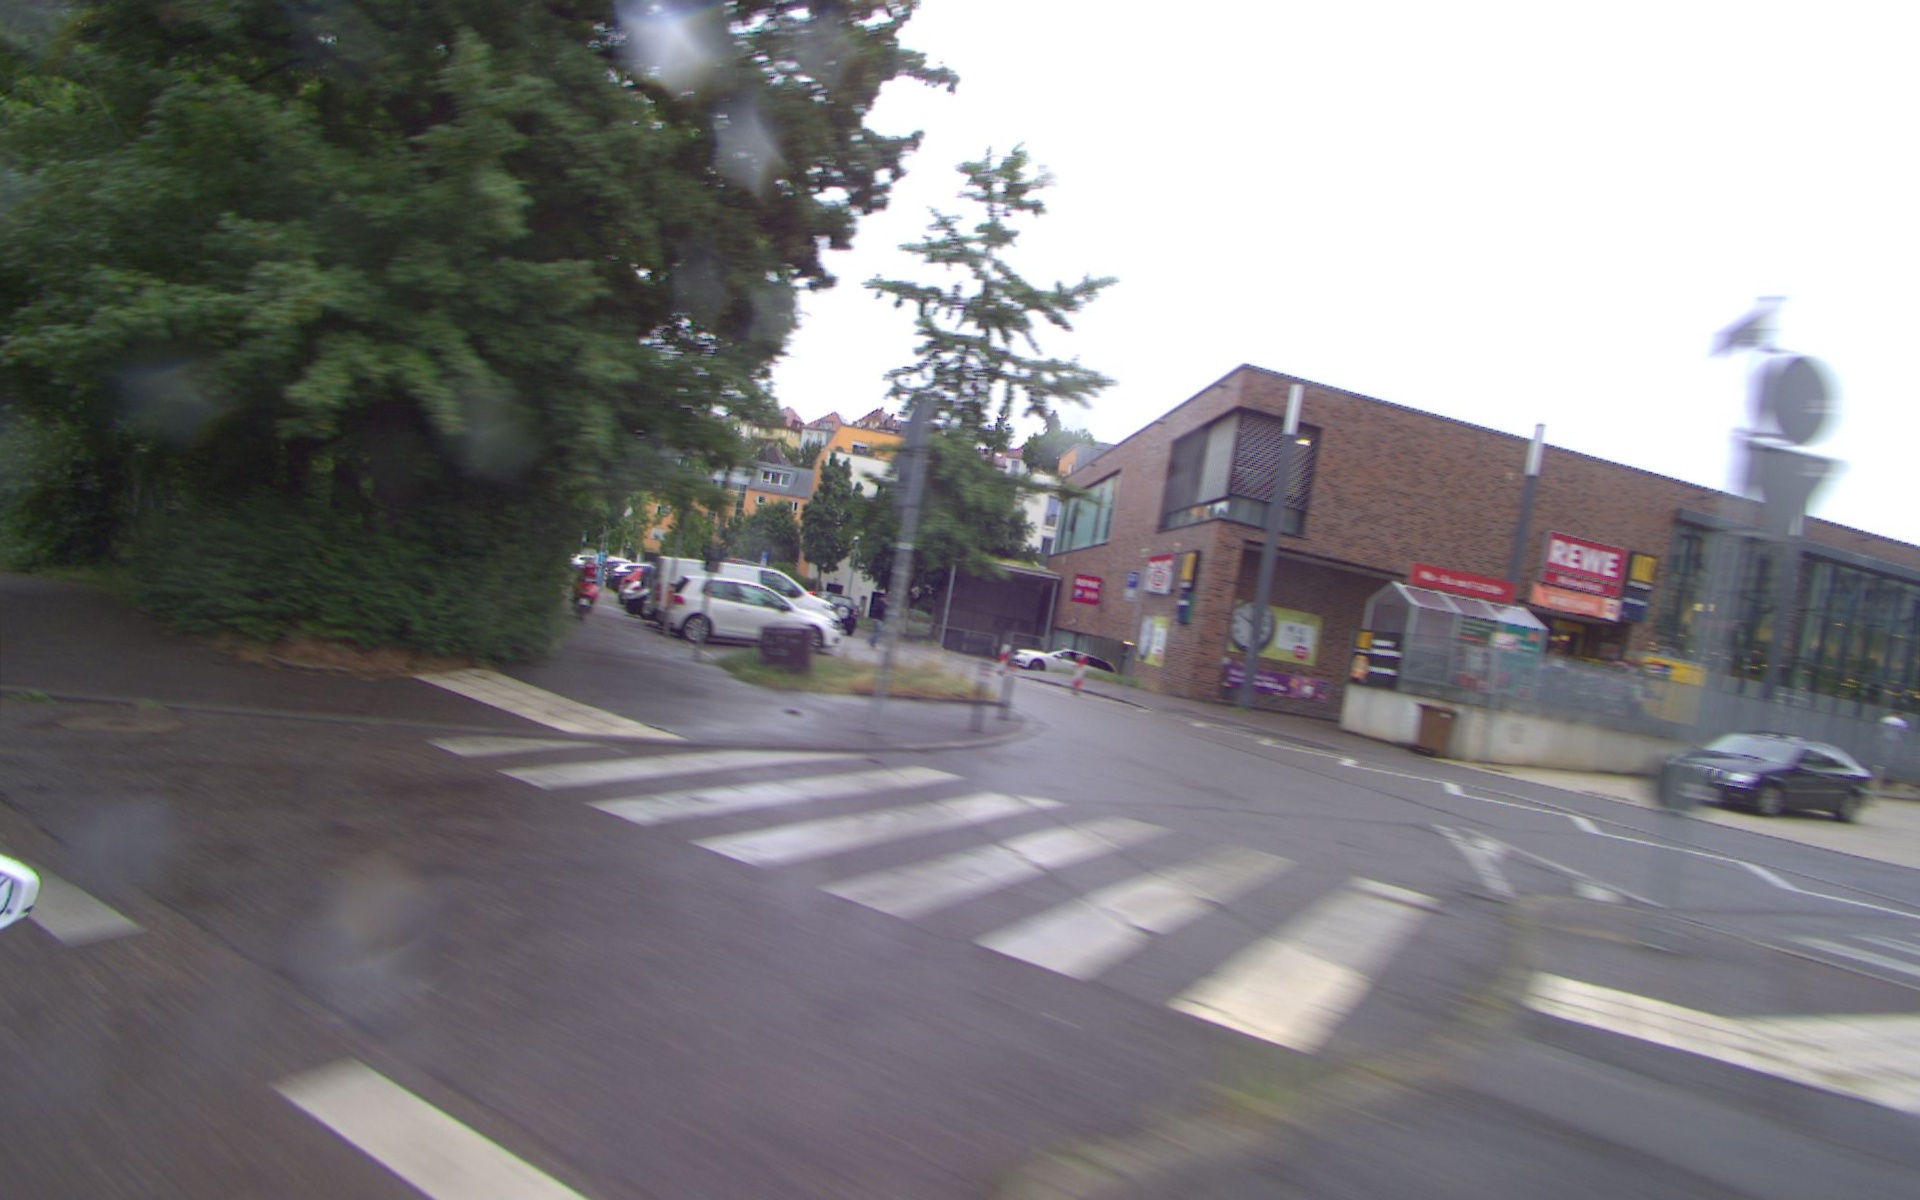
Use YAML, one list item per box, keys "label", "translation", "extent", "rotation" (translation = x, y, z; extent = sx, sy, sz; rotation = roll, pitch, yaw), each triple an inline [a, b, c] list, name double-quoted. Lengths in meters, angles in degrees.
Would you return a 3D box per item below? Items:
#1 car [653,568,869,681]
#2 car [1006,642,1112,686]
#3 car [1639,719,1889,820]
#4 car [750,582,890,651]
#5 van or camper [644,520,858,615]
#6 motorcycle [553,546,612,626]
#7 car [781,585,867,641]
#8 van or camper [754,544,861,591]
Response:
- label: "car"
  translation: [-4.637, 0.579, 23.373]
  extent: [4.449, 2.037, 1.990]
  rotation: [7, -1, -23]
- label: "car"
  translation: [4.092, 2.657, 41.990]
  extent: [3.931, 1.259, 1.998]
  rotation: [7, -1, -8]
- label: "car"
  translation: [15.115, 3.181, 18.931]
  extent: [3.947, 1.376, 1.988]
  rotation: [6, 1, -24]
- label: "car"
  translation: [-4.290, 0.490, 30.716]
  extent: [3.848, 1.706, 1.730]
  rotation: [5, 1, -20]
- label: "van or camper"
  translation: [-5.386, -0.812, 25.938]
  extent: [5.101, 1.858, 1.992]
  rotation: [5, 1, -17]
- label: "motorcycle"
  translation: [-7.645, -0.281, 20.302]
  extent: [0.815, 1.390, 2.417]
  rotation: [11, -3, -22]
- label: "car"
  translation: [-6.242, 0.563, 45.735]
  extent: [1.983, 2.039, 3.957]
  rotation: [5, 1, -38]
- label: "van or camper"
  translation: [-8.702, -1.838, 57.909]
  extent: [5.907, 2.039, 1.974]
  rotation: [6, 1, -45]
